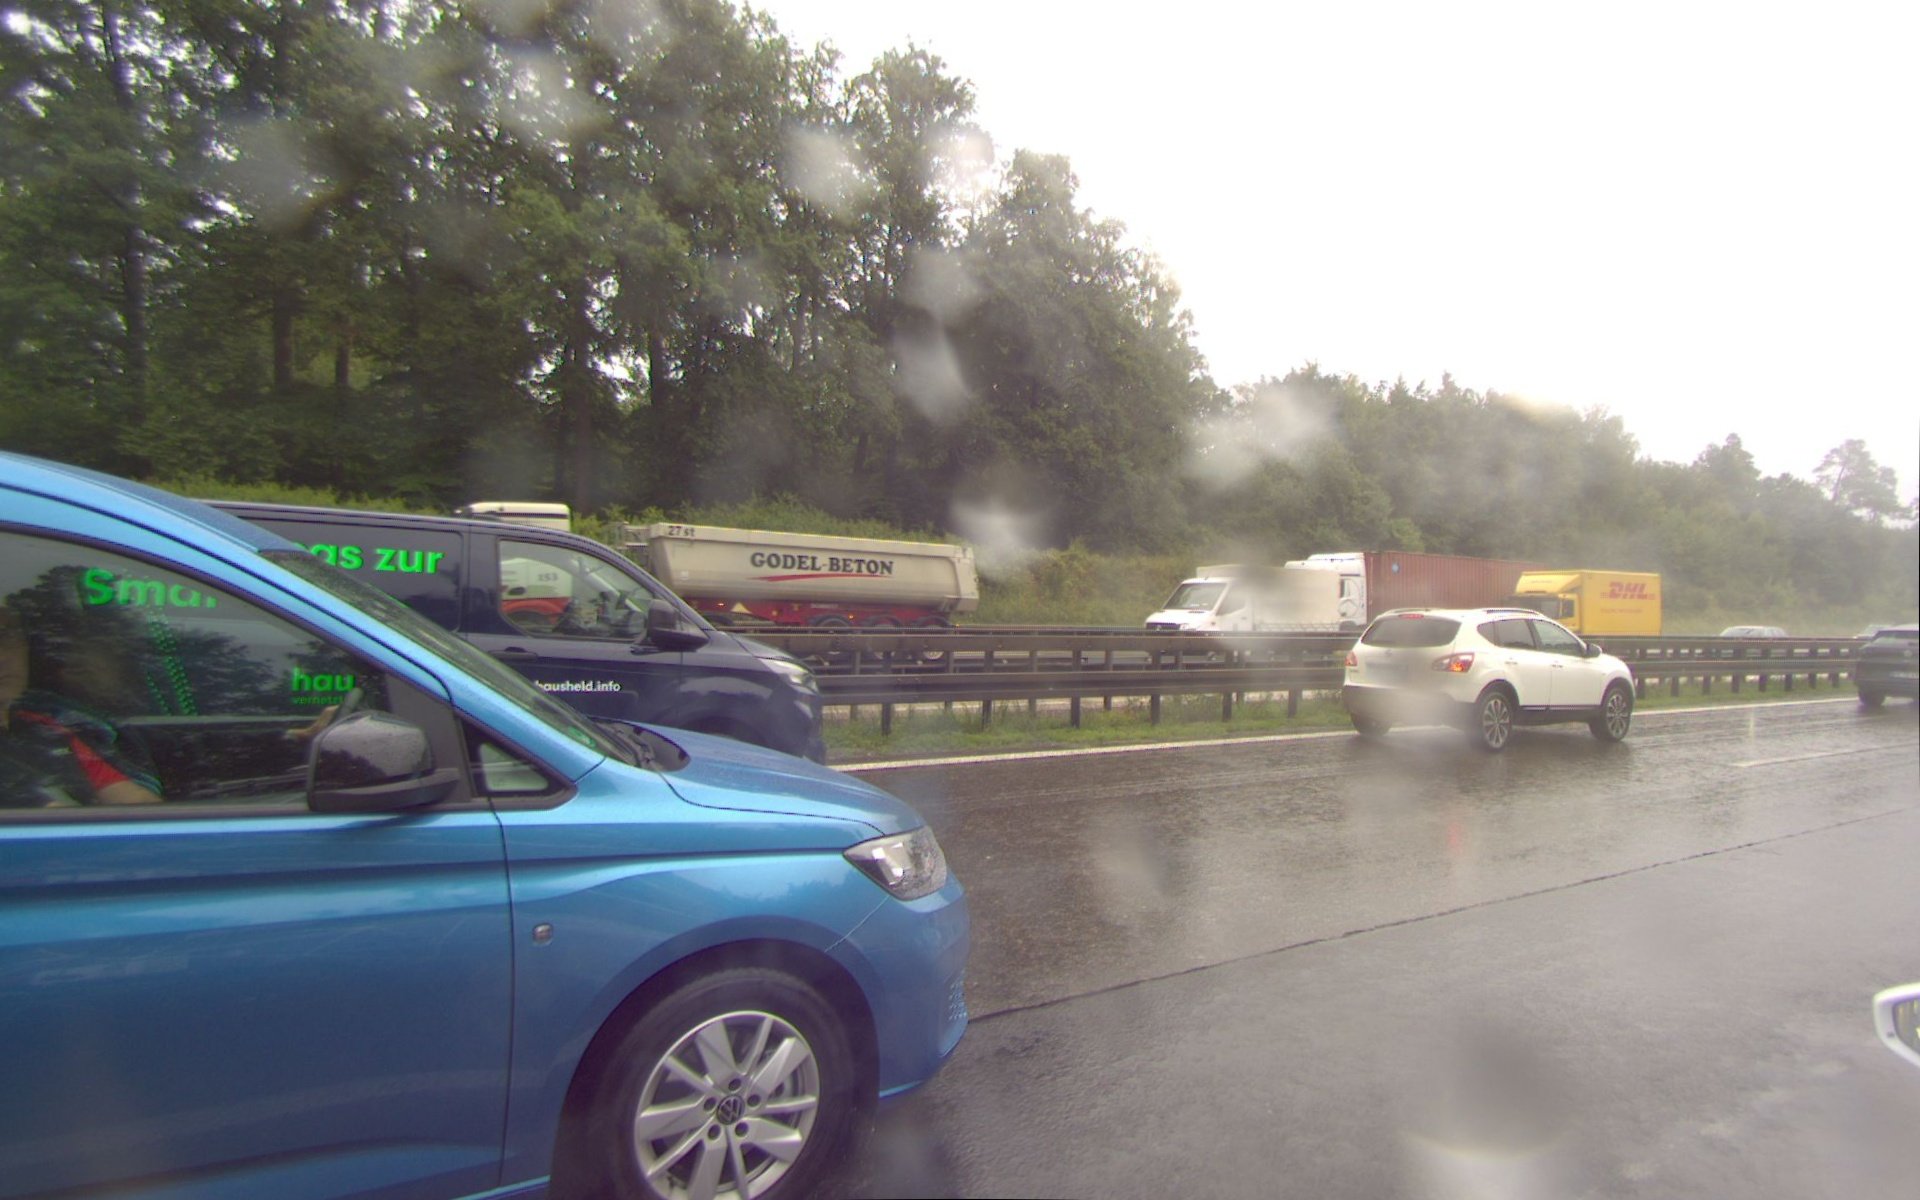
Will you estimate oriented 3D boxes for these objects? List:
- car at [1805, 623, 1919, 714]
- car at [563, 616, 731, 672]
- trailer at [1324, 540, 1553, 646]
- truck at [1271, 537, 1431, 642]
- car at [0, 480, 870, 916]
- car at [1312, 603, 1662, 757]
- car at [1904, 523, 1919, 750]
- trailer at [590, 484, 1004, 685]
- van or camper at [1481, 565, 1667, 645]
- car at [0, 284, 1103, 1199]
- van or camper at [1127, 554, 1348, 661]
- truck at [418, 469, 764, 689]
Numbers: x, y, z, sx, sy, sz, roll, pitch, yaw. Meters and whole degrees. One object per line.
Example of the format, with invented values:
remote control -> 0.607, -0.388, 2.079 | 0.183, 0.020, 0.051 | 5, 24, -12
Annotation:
car -> 18.979, 1.299, 20.060 | 4.414, 1.613, 1.837 | 1, 0, -30
car -> -8.241, 1.142, 26.504 | 3.953, 1.362, 1.793 | 1, -1, -30
trailer -> 20.722, -0.157, 42.970 | 12.235, 4.079, 2.605 | 2, 0, -32
truck -> 15.484, -0.332, 39.726 | 6.193, 3.869, 2.690 | 1, 0, -32
car -> -3.341, 0.475, 6.193 | 5.177, 1.970, 1.983 | 1, 0, -28
car -> 6.650, 0.878, 12.562 | 4.414, 1.613, 1.836 | 1, 0, -31
car -> 13.645, 0.463, 12.142 | 4.963, 2.607, 2.199 | 1, 0, -34
trailer -> -3.515, -0.188, 23.457 | 9.312, 4.006, 2.366 | 1, -1, -31
van or camper -> 25.344, 0.271, 41.330 | 8.685, 3.018, 2.828 | 1, 0, -31
car -> -2.340, 0.457, 2.432 | 4.953, 1.937, 2.260 | 1, 0, -28
van or camper -> 7.464, 0.228, 26.735 | 6.052, 2.581, 2.186 | 1, -1, -32
truck -> -7.612, -0.298, 21.026 | 6.460, 4.006, 2.366 | 1, -1, -31
